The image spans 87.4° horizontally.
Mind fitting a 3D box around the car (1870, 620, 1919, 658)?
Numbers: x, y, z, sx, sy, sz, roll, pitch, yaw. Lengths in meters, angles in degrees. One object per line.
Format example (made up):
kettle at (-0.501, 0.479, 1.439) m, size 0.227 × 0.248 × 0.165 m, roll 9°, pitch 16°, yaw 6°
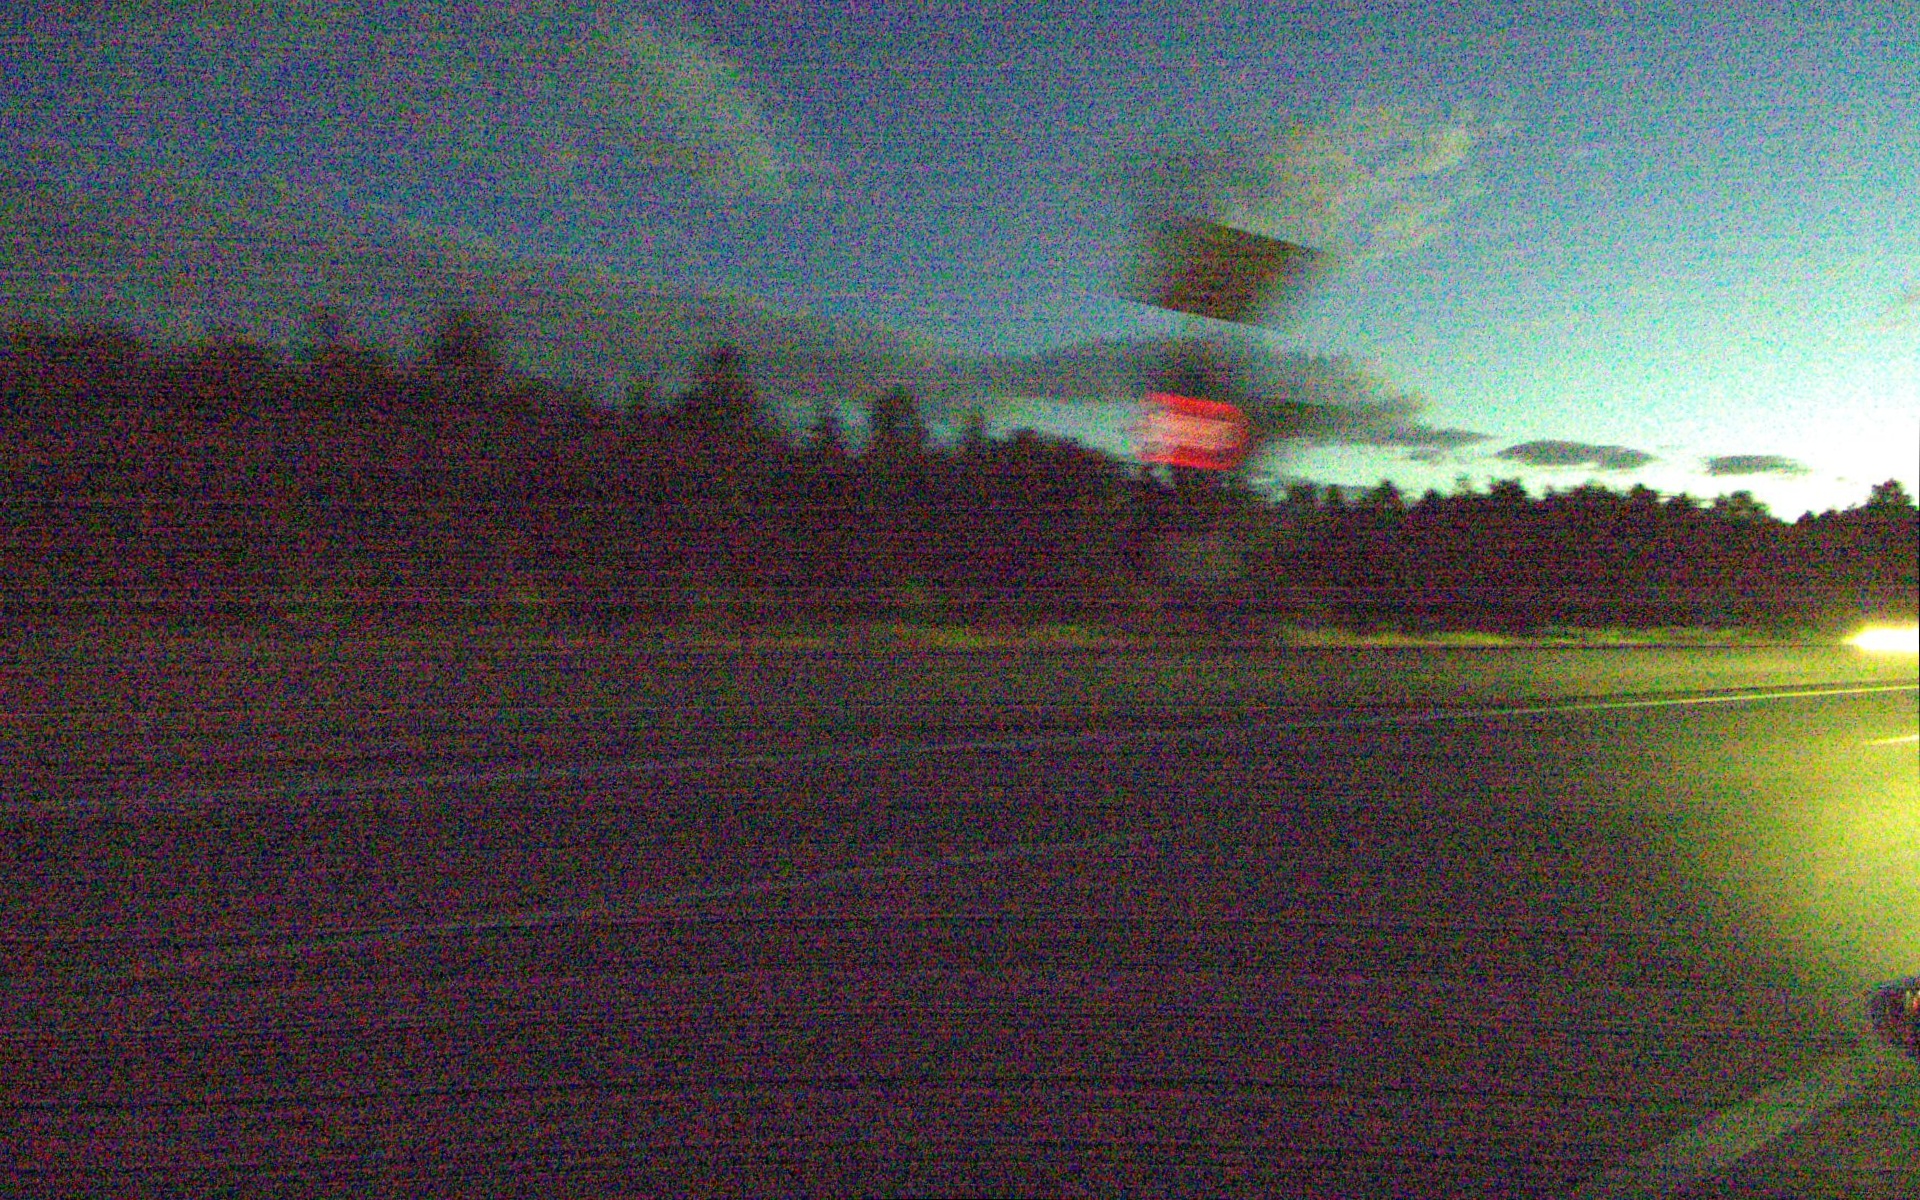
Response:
car at (43.267, 1.767, 45.436) m, size 4.164 × 1.623 × 1.984 m, roll 2°, pitch 0°, yaw -30°
